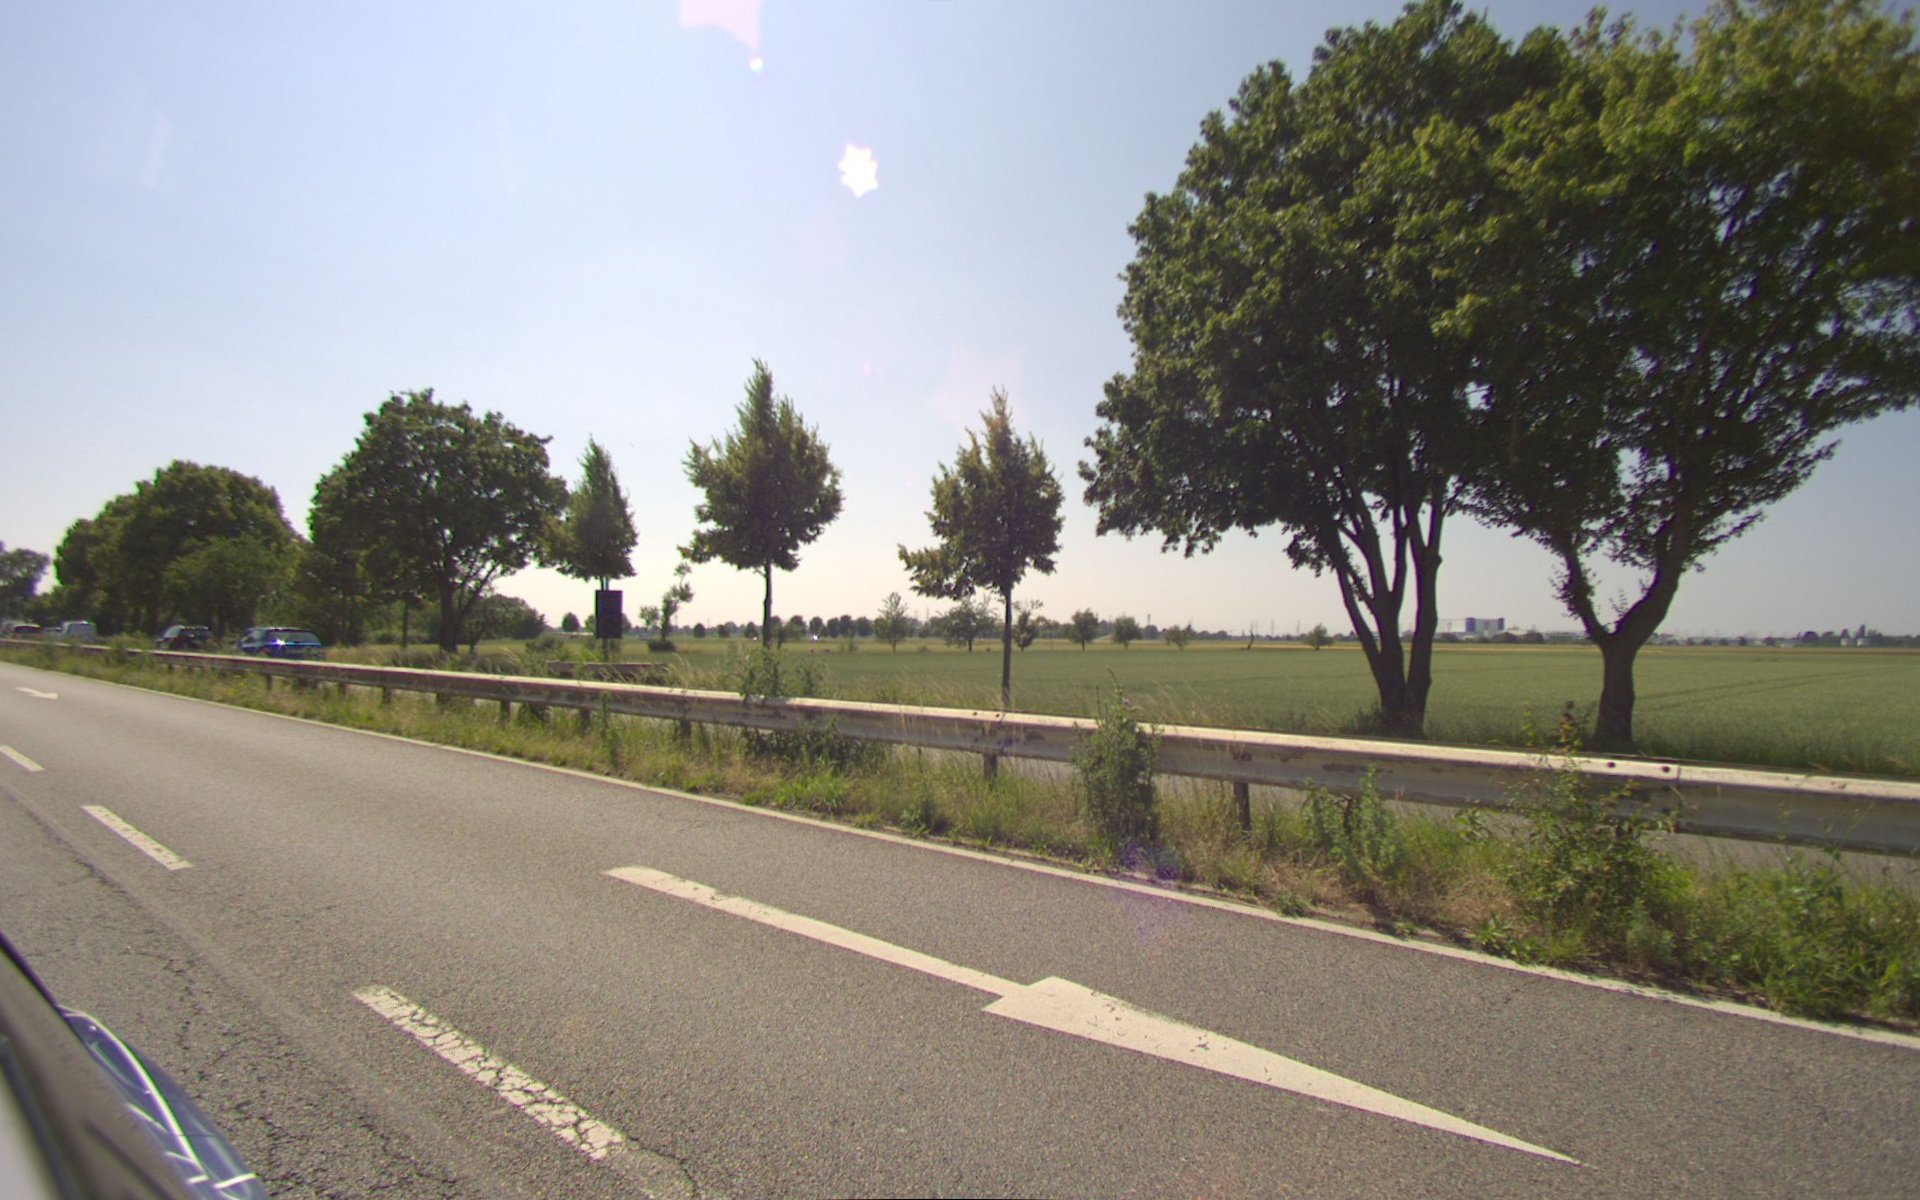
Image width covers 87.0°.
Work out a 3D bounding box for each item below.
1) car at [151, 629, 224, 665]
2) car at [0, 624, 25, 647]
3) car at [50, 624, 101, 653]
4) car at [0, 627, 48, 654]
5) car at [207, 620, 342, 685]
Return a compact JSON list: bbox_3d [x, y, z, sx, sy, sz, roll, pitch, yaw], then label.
[{"bbox_3d":[-38.347,2.294,50.184,4.477,1.675,1.973,-1,-2,40],"label":"car"},{"bbox_3d":[-88.550,3.287,93.915,4.529,2.029,2.017,-1,-3,40],"label":"car"},{"bbox_3d":[-62.454,2.668,71.449,4.924,1.975,1.973,-1,-3,40],"label":"car"},{"bbox_3d":[-57.460,2.456,61.825,4.477,1.569,1.973,-1,-3,40],"label":"car"},{"bbox_3d":[-19.039,1.406,28.038,4.477,1.675,1.973,-1,-3,40],"label":"car"}]
